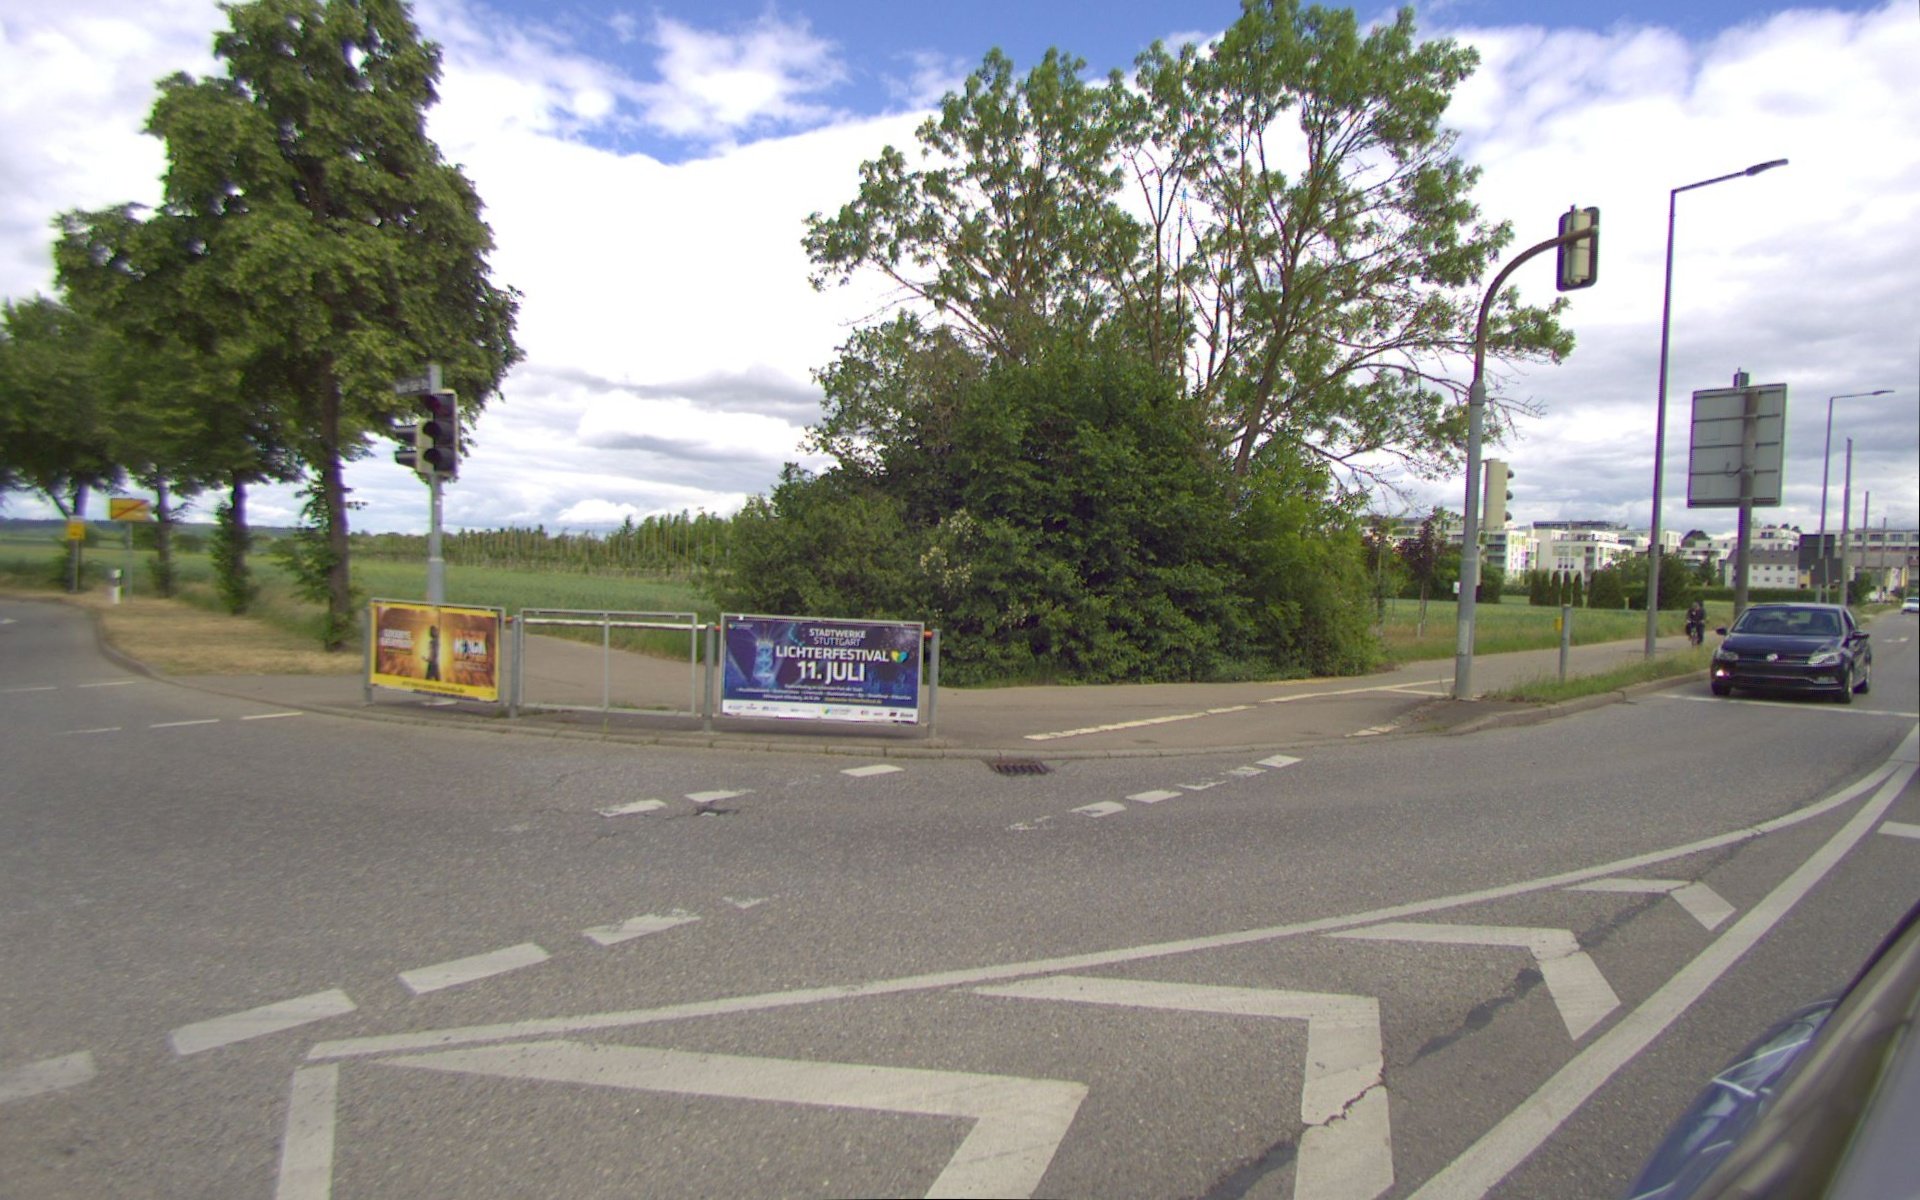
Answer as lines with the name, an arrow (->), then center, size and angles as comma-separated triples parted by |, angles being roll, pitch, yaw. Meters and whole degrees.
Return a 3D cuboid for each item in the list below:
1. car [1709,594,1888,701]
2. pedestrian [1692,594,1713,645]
car -> 13.206, 0.645, 15.871 | 3.676, 1.436, 1.681 | -1, 2, -43
pedestrian -> 25.495, 0.669, 34.752 | 0.491, 1.724, 0.616 | 0, 0, 45
